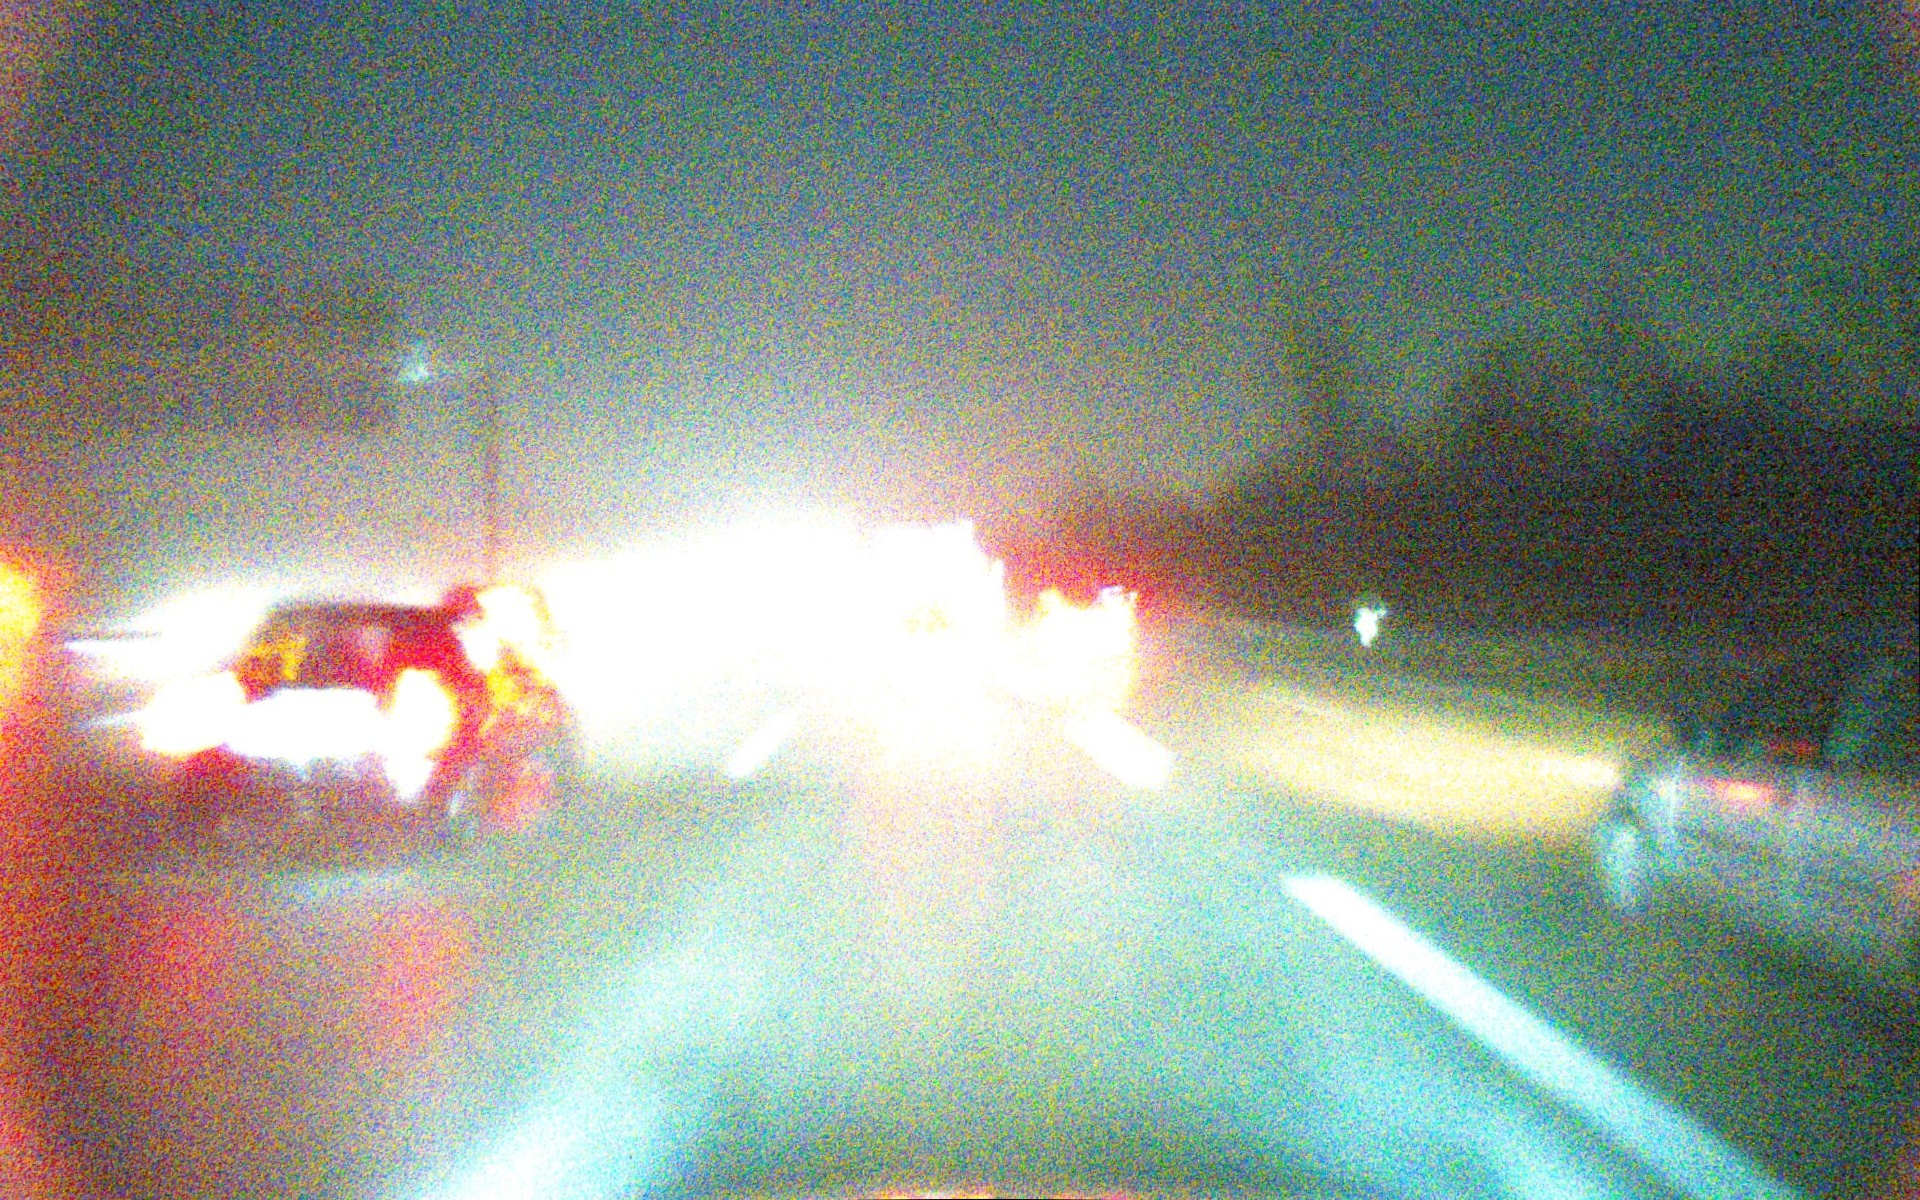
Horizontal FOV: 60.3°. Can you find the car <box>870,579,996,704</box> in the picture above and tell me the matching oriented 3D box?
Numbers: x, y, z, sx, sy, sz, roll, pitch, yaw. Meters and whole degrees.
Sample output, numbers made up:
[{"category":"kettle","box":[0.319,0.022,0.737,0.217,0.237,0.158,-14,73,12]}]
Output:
[{"category":"car","box":[-0.394,0.552,24.698,1.729,1.719,4.000,0,0,-1]}]

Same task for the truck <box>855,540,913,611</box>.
[{"category":"truck","box":[-6.082,-1.897,134.662,4.167,5.539,10.884,1,0,0]}]

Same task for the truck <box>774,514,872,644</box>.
[{"category":"truck","box":[-5.565,-0.750,66.483,3.585,4.820,9.840,1,0,-5]}]

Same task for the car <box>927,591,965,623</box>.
[{"category":"car","box":[-0.789,0.386,90.287,1.953,1.733,4.457,1,0,-1]}]

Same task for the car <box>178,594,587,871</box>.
[{"category":"car","box":[-3.591,0.706,11.060,1.624,1.456,4.241,0,1,-6]}]

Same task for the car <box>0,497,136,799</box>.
[{"category":"car","box":[-7.810,0.336,10.861,2.080,2.141,5.627,0,0,-1]}]

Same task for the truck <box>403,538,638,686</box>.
[{"category":"truck","box":[-7.307,0.203,28.301,2.801,2.239,5.853,1,0,-4]}]

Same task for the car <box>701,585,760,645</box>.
[{"category":"car","box":[-9.227,0.584,66.686,2.221,2.313,5.376,1,0,-8]}]

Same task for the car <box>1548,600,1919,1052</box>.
[{"category":"car","box":[4.007,0.754,6.543,1.734,1.483,4.193,0,0,-2]}]

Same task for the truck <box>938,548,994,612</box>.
[{"category":"truck","box":[0.434,-1.614,142.075,4.079,5.306,9.945,1,0,-4]}]

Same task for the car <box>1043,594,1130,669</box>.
[{"category":"car","box":[3.153,0.765,41.906,1.840,1.793,3.999,1,0,-1]}]
